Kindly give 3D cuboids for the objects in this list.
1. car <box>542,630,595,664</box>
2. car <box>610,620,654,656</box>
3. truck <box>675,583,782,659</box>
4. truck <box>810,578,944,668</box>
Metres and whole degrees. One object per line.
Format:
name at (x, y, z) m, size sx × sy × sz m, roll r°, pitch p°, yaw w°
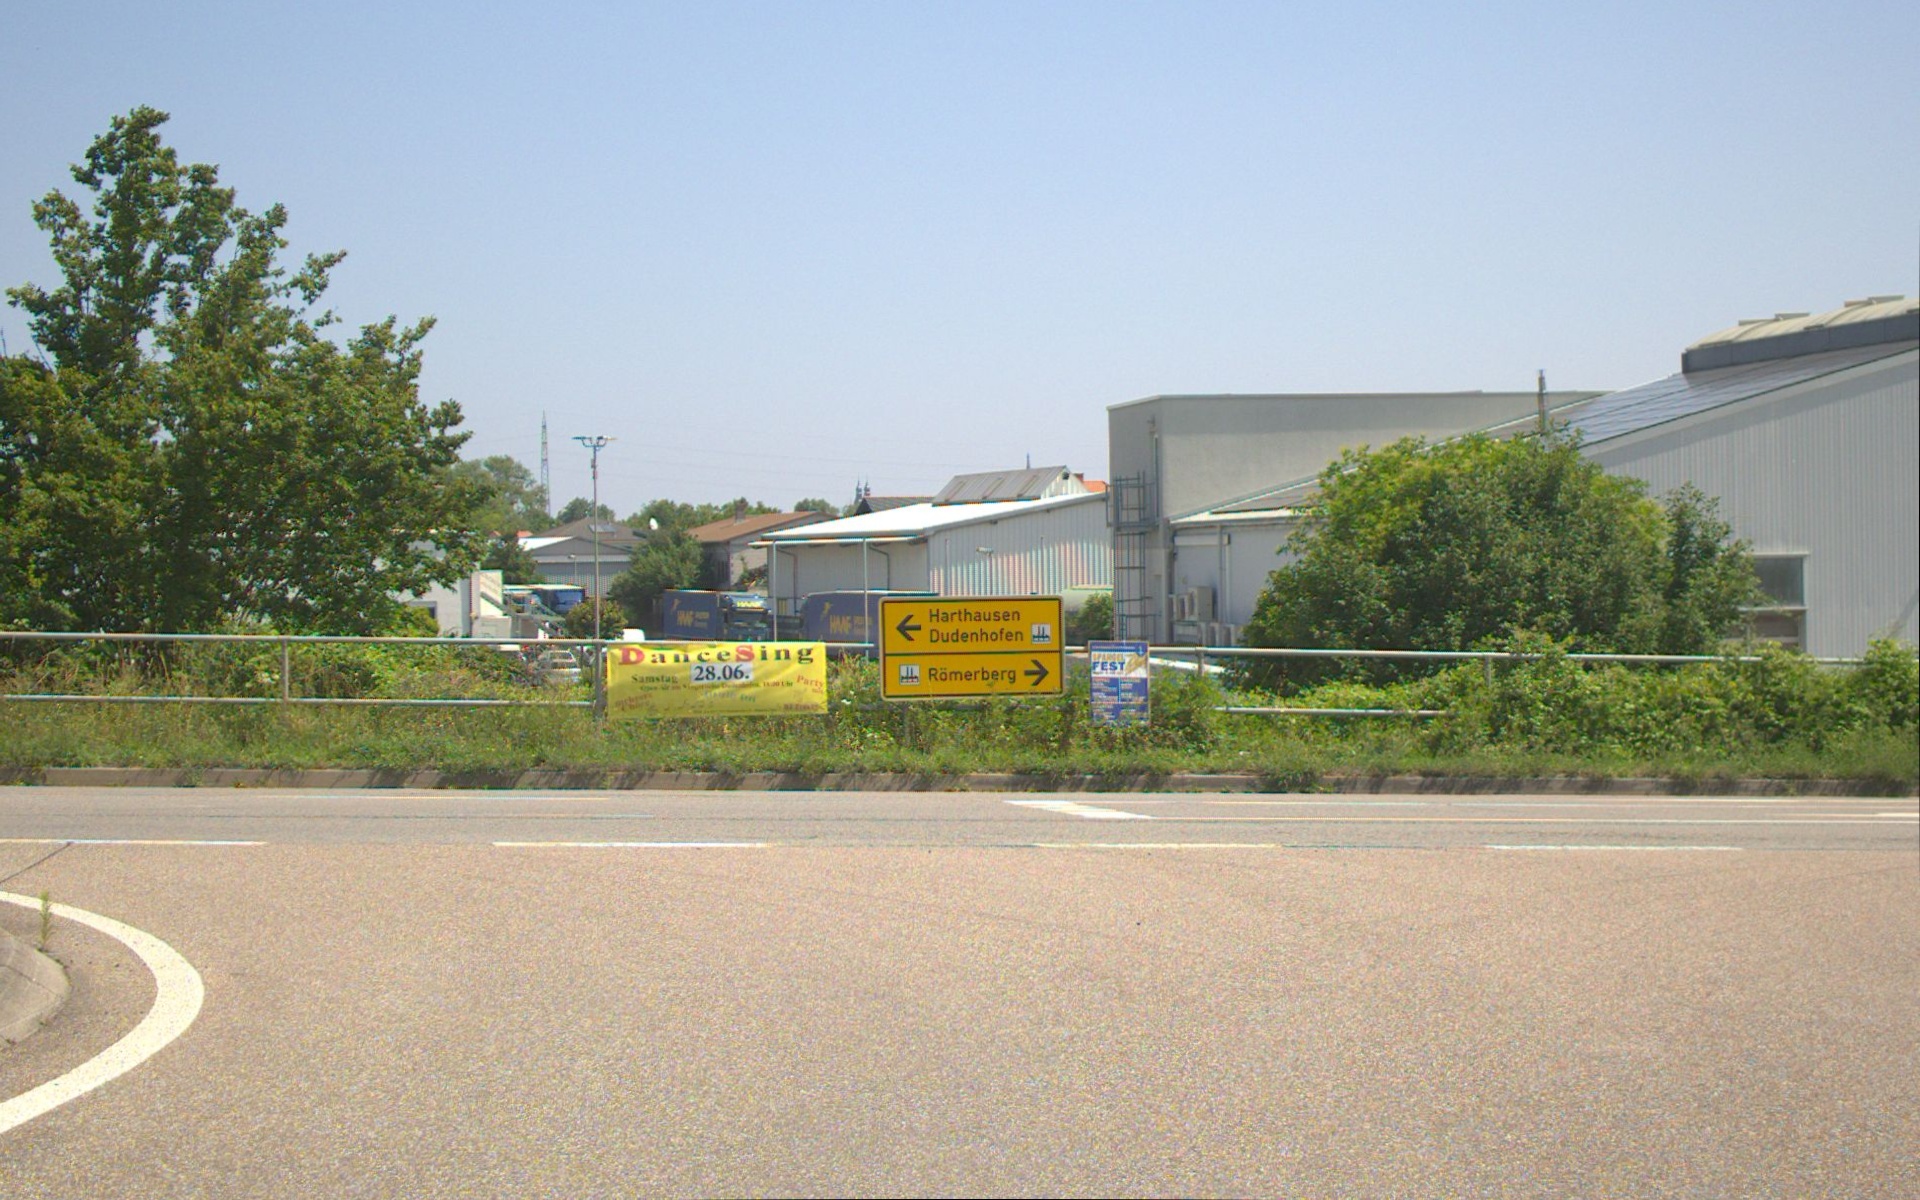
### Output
car at (-21.170, 2.535, 185.648) m, size 1.993 × 1.725 × 4.865 m, roll 1°, pitch 0°, yaw -16°
car at (-18.378, 2.118, 192.477) m, size 1.716 × 2.007 × 4.001 m, roll 0°, pitch 0°, yaw -16°
truck at (-13.839, 1.204, 204.040) m, size 3.410 × 4.296 × 14.597 m, roll 1°, pitch 0°, yaw -15°
truck at (-4.234, 1.099, 170.695) m, size 3.707 × 4.296 × 13.346 m, roll 1°, pitch 0°, yaw -14°
